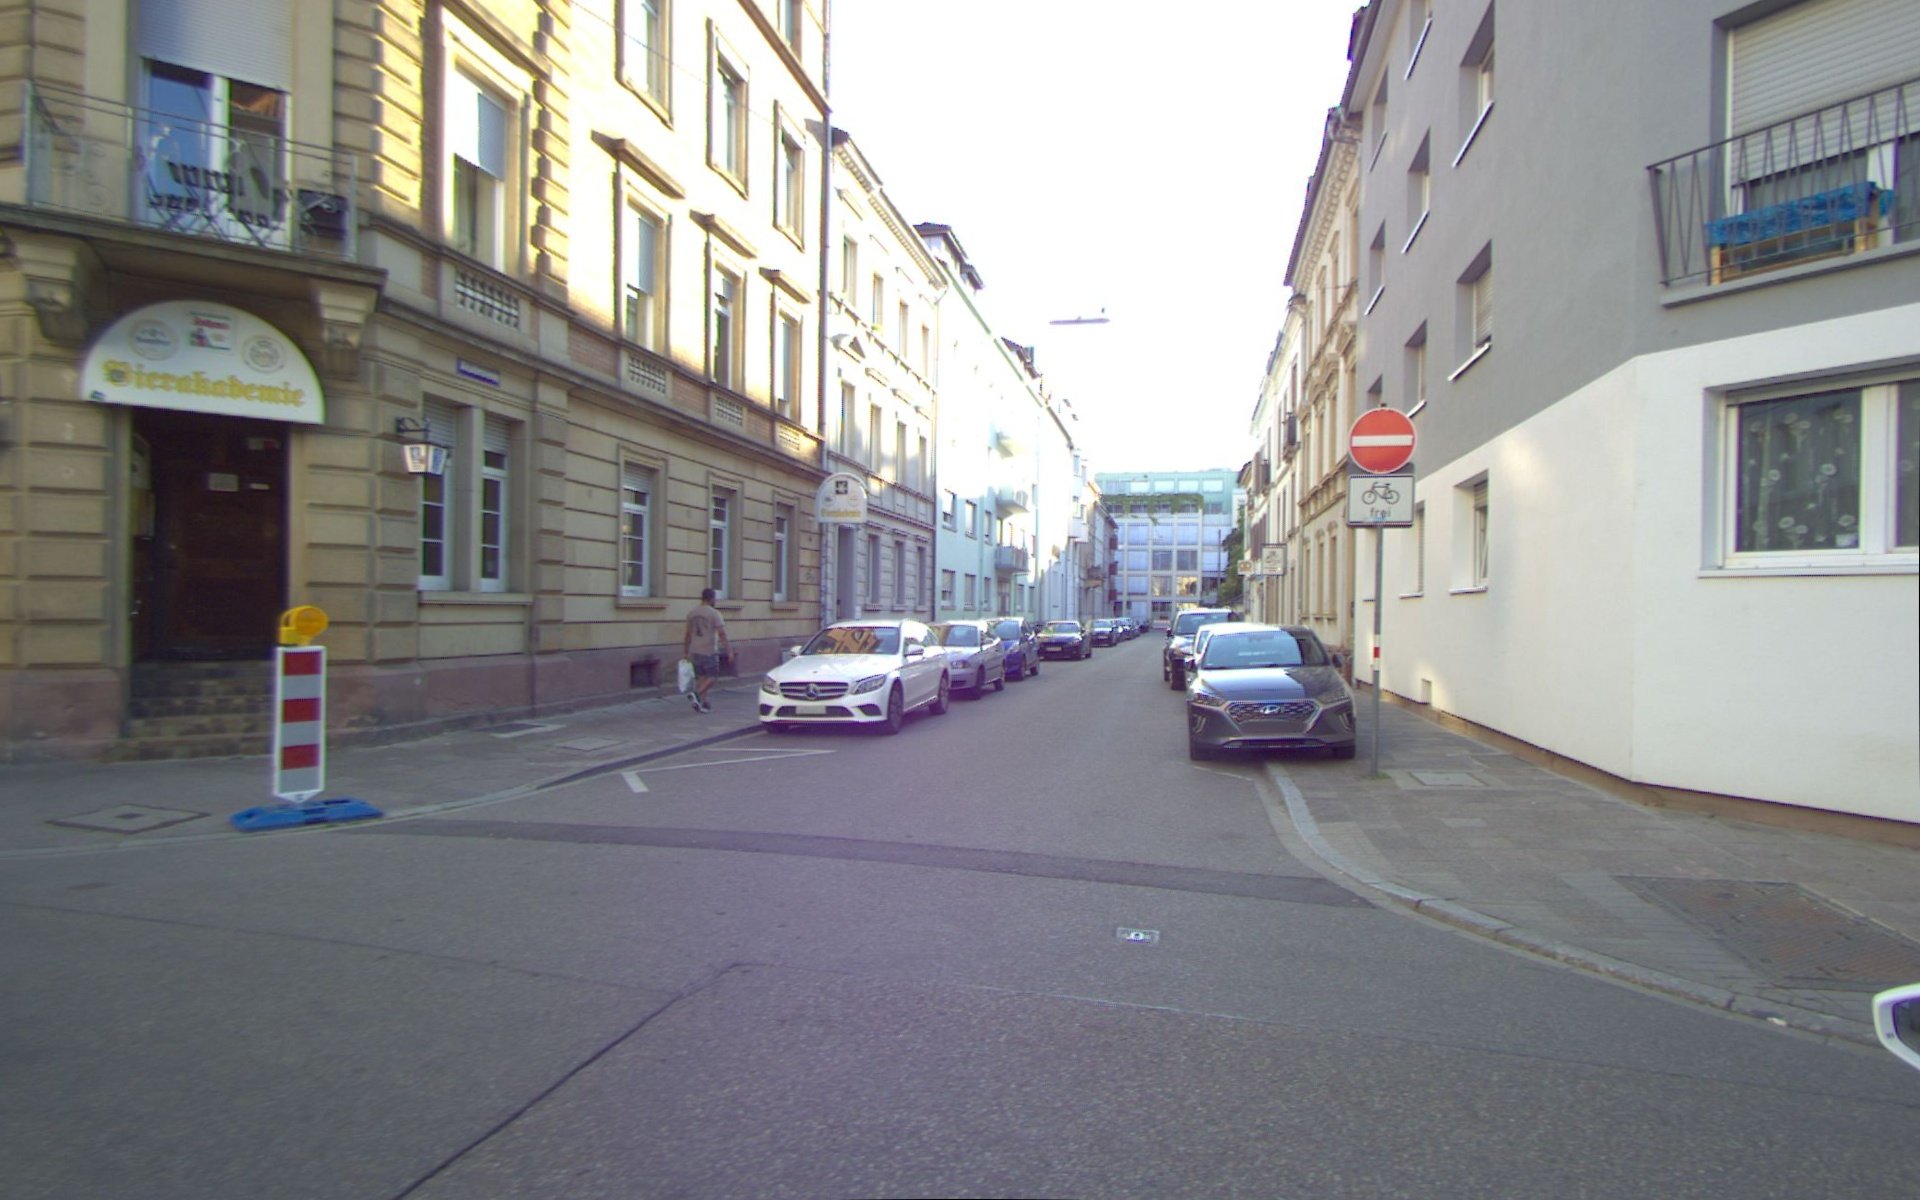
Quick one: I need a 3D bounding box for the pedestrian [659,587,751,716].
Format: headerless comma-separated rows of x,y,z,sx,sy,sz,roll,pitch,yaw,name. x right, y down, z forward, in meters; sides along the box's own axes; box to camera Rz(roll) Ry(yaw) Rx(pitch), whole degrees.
-3.630,0.717,14.386,0.965,1.765,1.017,1,0,4,pedestrian

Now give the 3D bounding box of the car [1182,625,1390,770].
3.656,1.038,11.920,1.905,1.390,3.791,-2,-1,12,car

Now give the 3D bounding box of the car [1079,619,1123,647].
7.598,1.747,53.937,2.136,1.437,4.003,0,-1,11,car

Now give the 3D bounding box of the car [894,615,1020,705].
0.047,1.093,19.709,1.597,1.597,3.756,0,-1,14,car

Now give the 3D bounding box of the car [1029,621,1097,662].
3.812,1.456,36.439,1.959,1.373,4.432,0,-1,13,car

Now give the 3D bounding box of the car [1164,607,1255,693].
5.697,1.080,23.252,1.861,1.808,4.003,0,-1,12,car

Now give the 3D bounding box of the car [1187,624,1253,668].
8.477,1.452,32.846,1.959,1.304,4.002,0,-1,14,car

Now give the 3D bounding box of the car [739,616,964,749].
-1.327,1.032,14.417,1.959,1.585,4.509,0,-1,11,car

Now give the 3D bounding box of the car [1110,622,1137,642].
11.501,2.244,70.591,1.678,1.320,4.003,0,-1,12,car

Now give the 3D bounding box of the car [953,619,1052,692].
1.158,1.324,25.347,1.755,1.681,3.818,0,-1,14,car

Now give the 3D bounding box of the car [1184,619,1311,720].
4.977,1.130,17.848,1.930,1.578,3.891,0,-1,12,car
